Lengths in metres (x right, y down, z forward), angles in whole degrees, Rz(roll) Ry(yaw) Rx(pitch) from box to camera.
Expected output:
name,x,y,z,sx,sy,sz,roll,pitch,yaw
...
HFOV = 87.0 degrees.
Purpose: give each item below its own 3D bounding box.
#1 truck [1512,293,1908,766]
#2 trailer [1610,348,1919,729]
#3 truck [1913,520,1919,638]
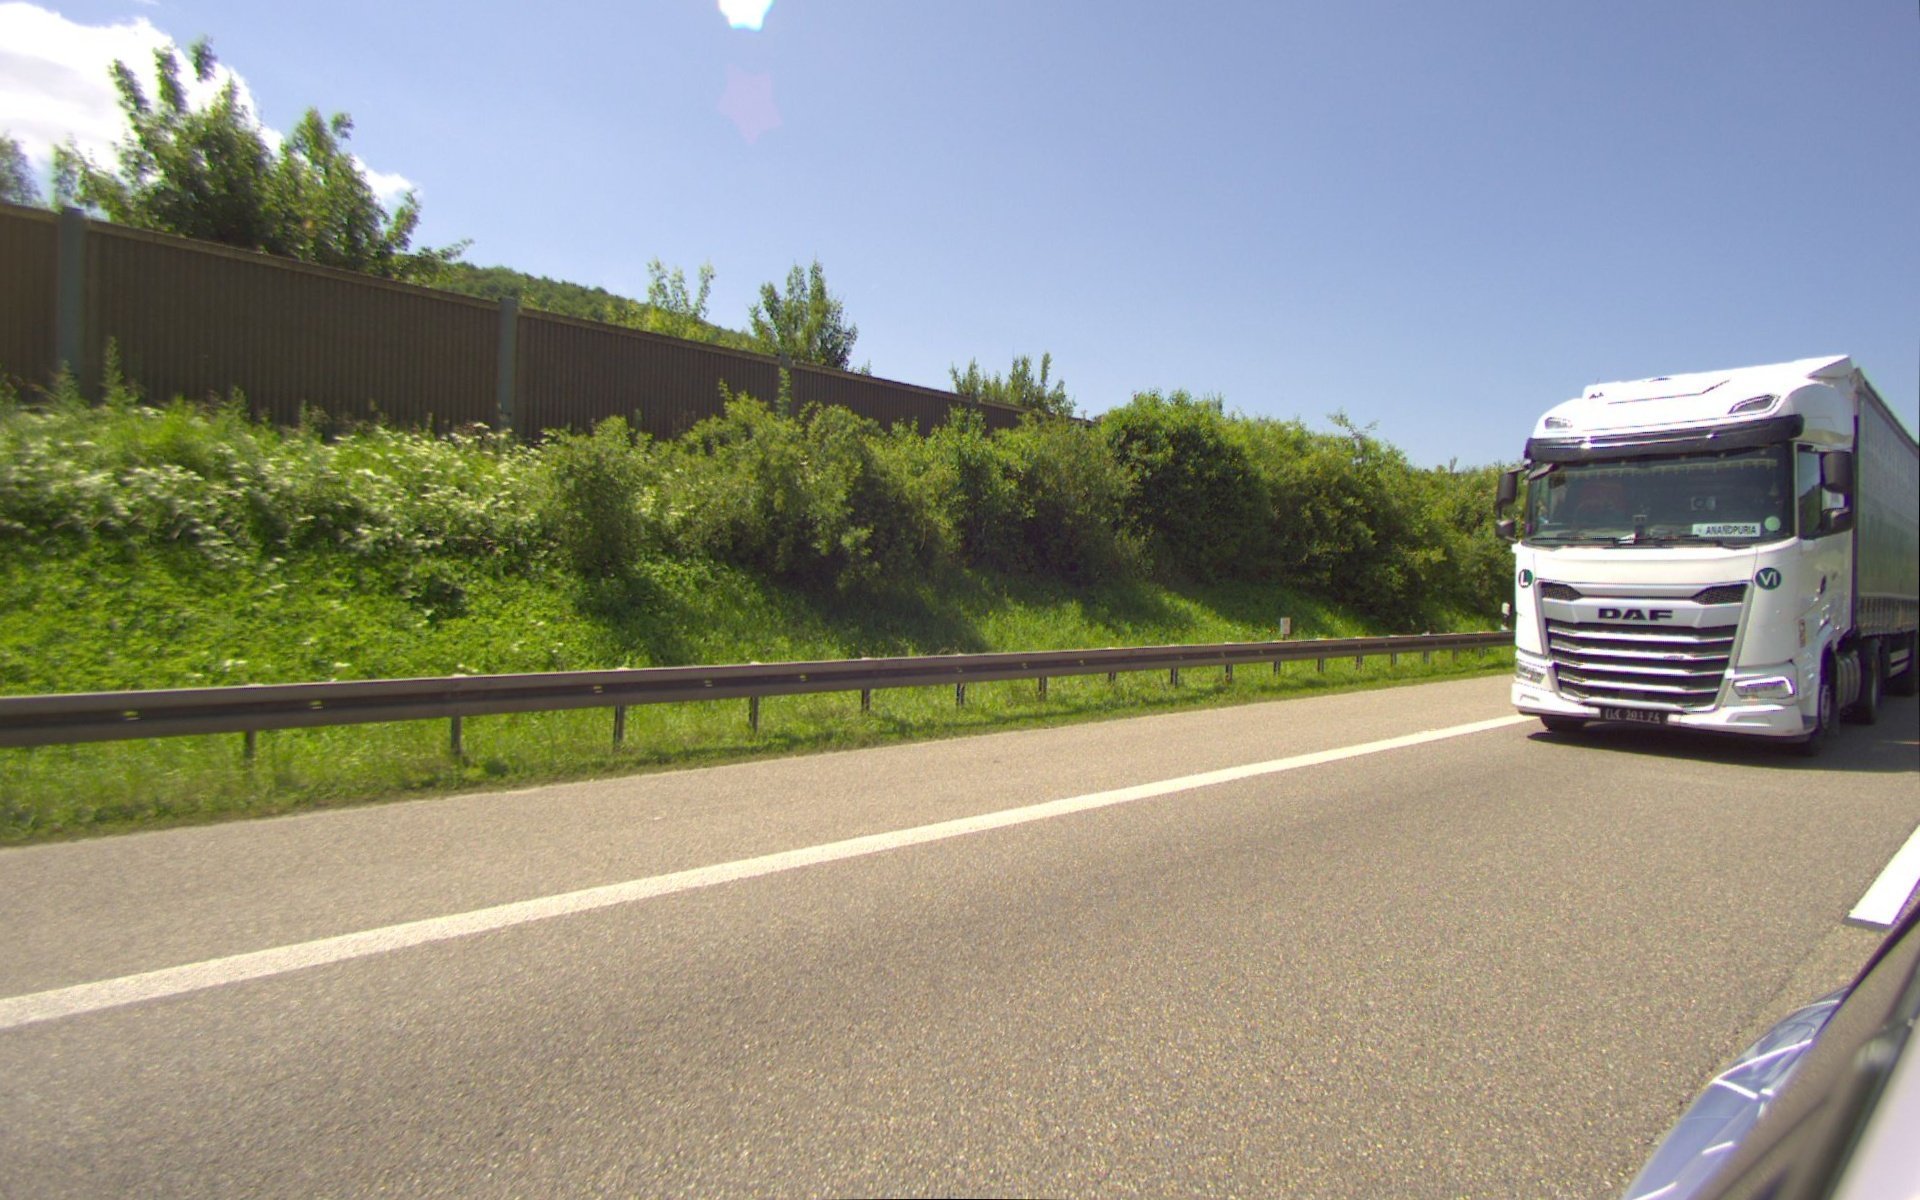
name,x,y,z,sx,sy,sz,roll,pitch,yaw
truck,8.872,-0.633,11.658,6.272,4.027,2.481,0,1,-42
trailer,13.864,-0.697,16.161,13.422,4.027,2.481,0,1,-42
truck,36.514,-0.772,36.675,5.978,4.140,2.527,-1,0,-43
